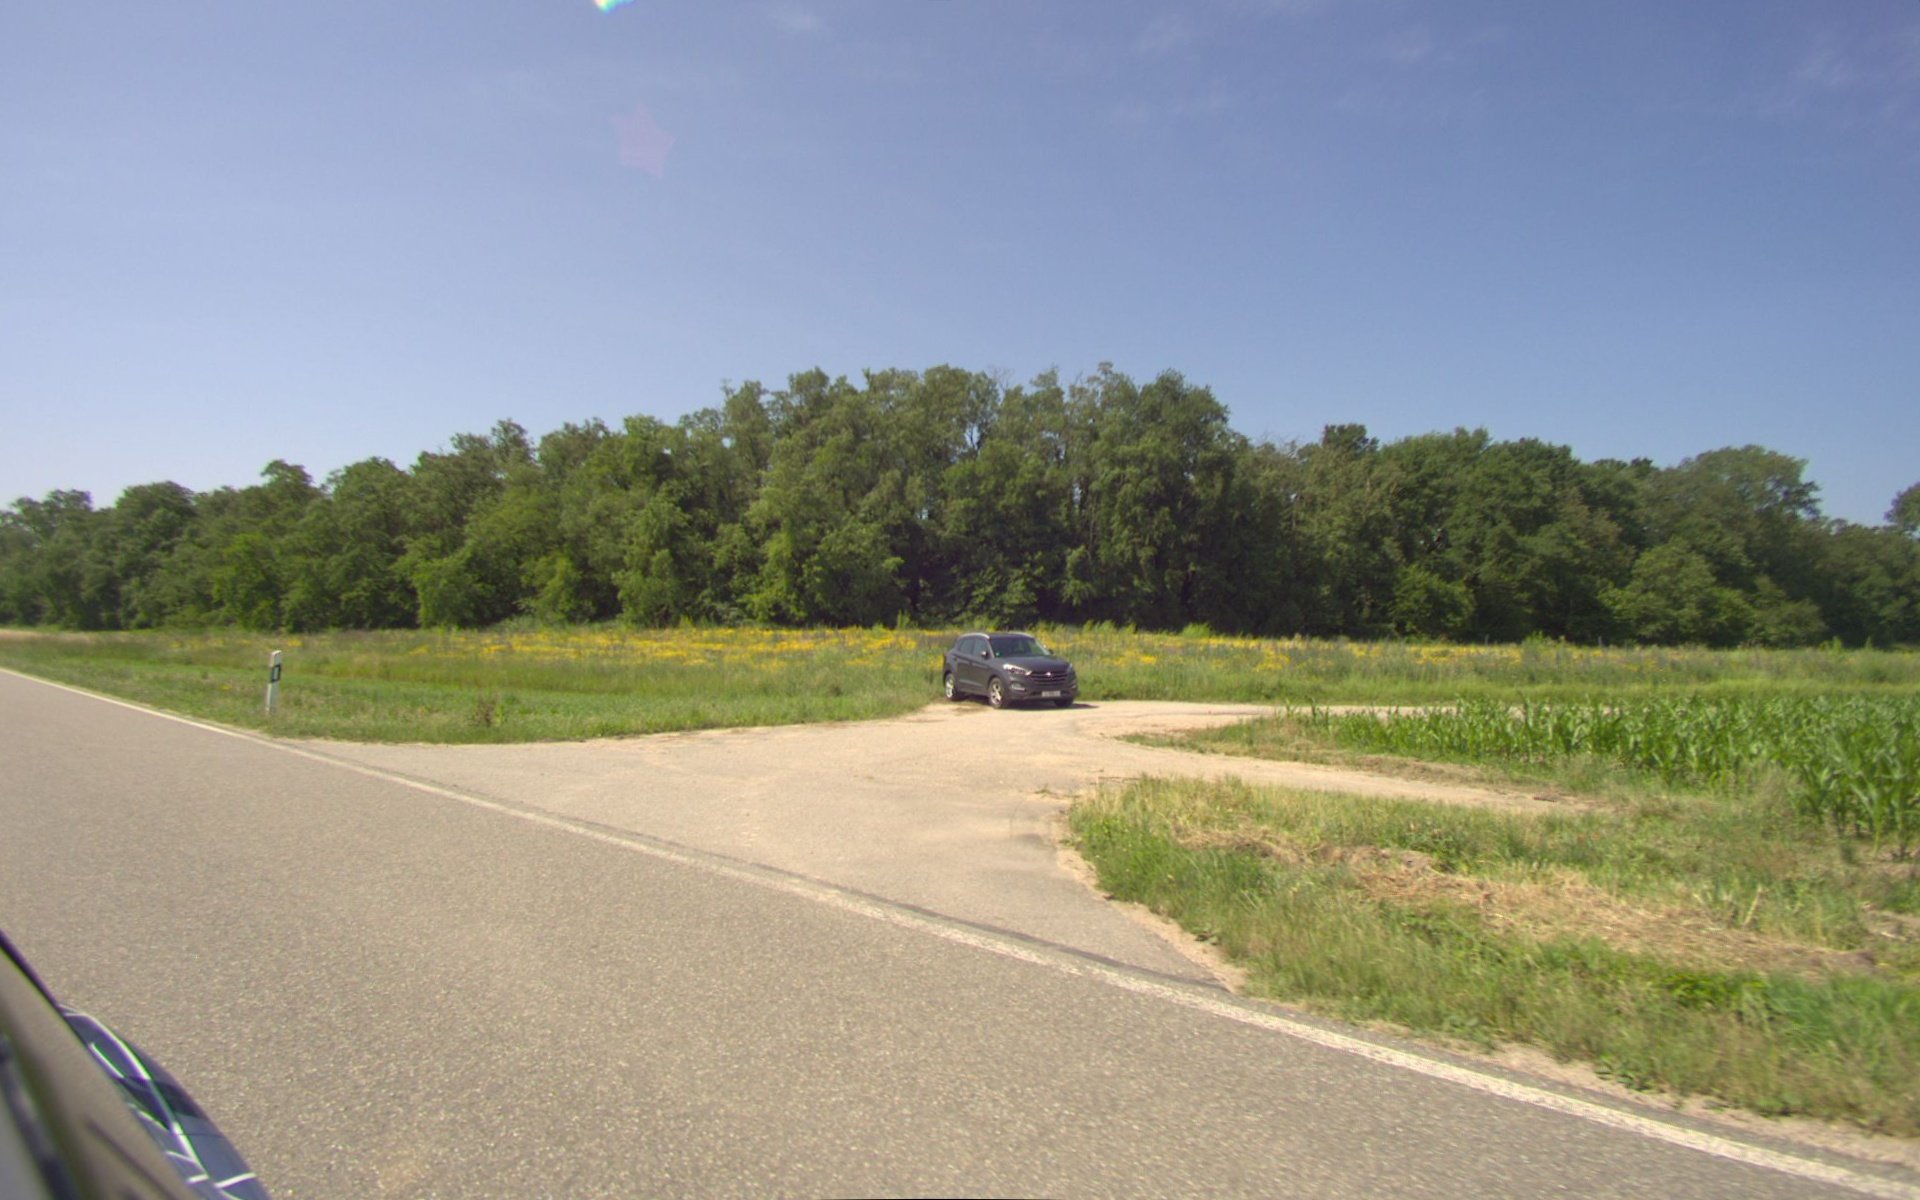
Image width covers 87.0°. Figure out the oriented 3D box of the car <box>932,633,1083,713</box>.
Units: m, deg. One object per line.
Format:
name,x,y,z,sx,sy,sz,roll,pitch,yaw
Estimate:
car,0.980,1.621,23.586,1.728,1.664,4.544,1,-2,-23
